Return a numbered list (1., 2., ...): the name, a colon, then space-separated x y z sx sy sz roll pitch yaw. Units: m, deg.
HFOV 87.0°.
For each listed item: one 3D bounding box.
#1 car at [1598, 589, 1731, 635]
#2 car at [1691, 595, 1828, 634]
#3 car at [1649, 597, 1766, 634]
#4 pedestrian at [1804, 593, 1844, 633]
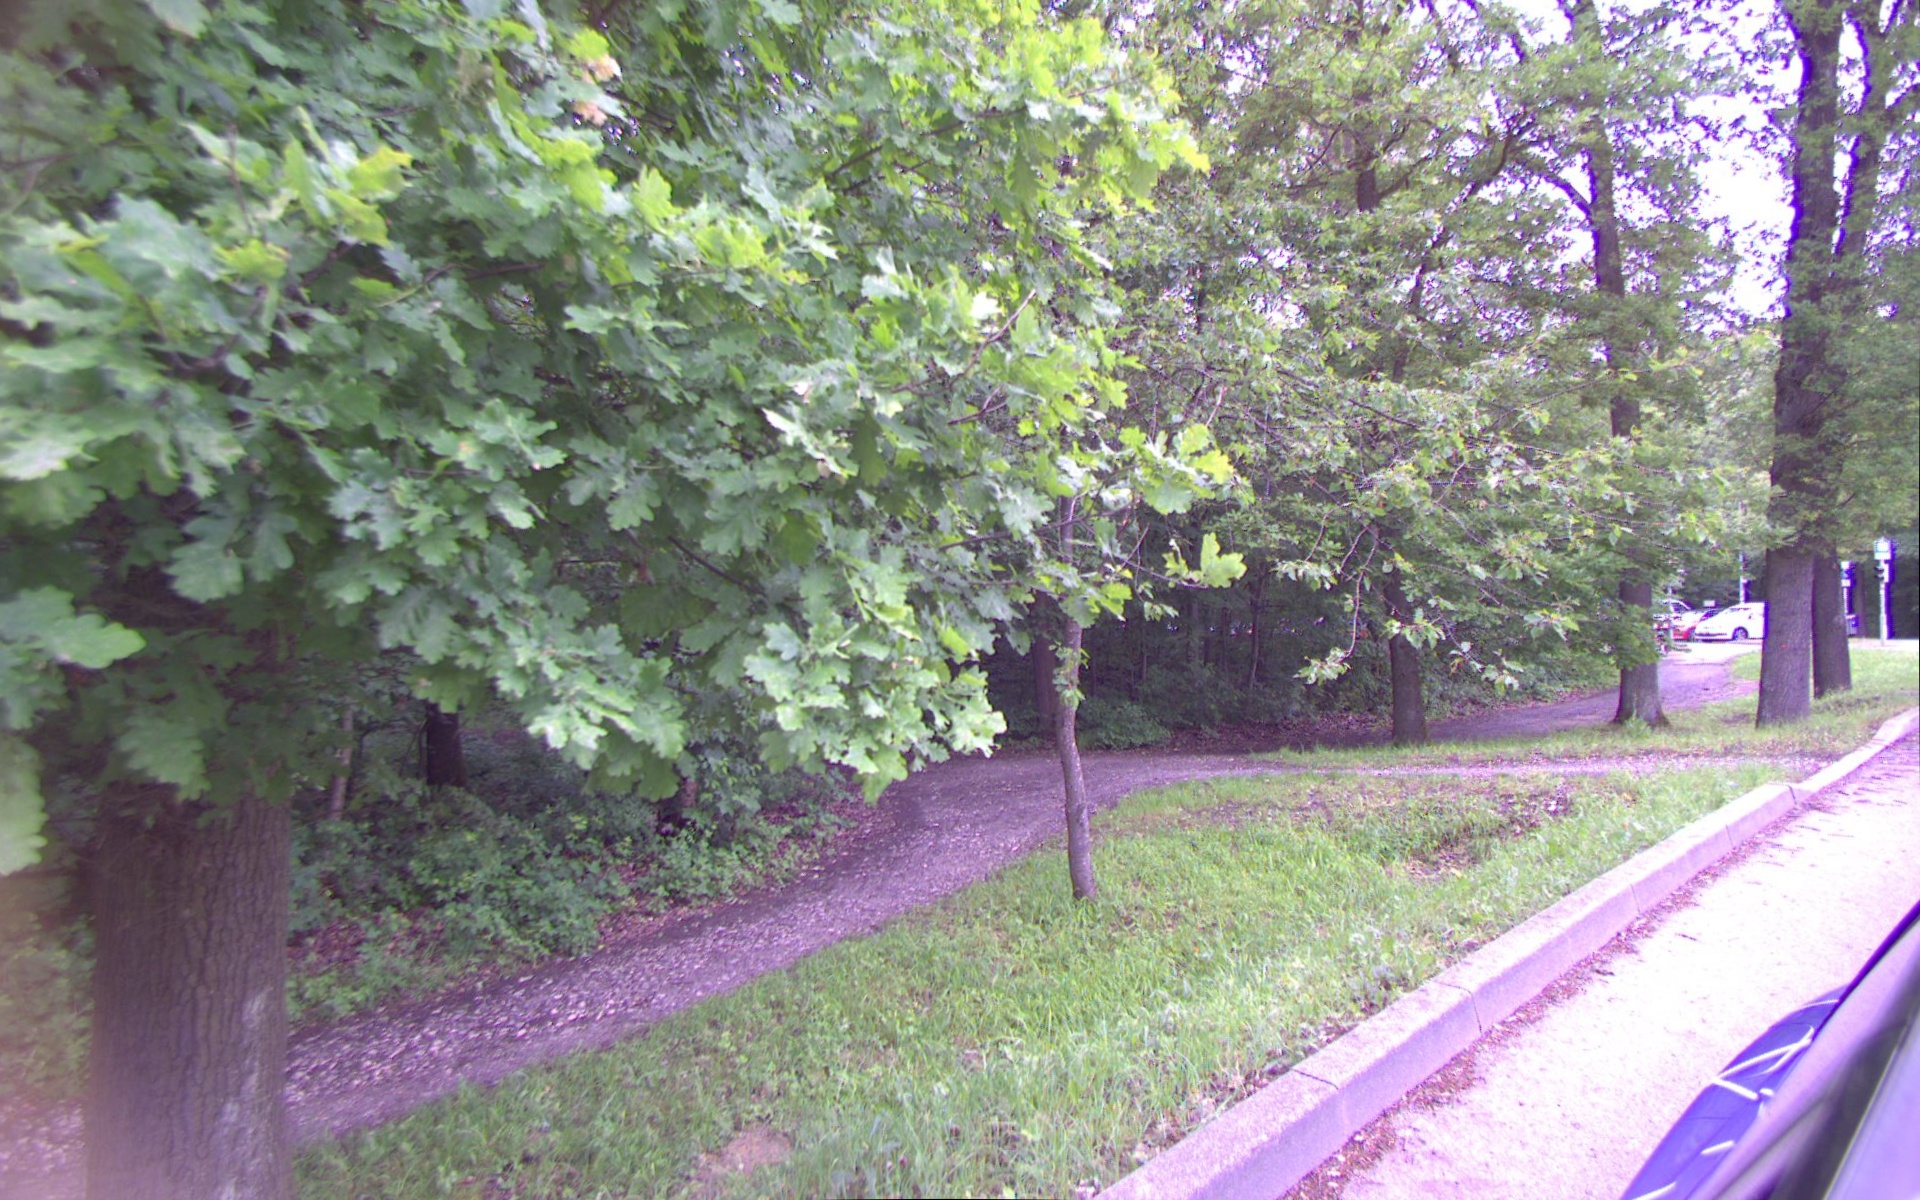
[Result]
1. car: 33.507 0.583 48.185 5.077 1.982 2.065 -2 -2 -10
2. car: 33.942 0.641 43.053 4.332 1.572 2.001 -1 -2 -6
3. car: 33.601 0.713 45.572 3.920 1.572 1.896 -1 -2 -6
4. pedestrian: 37.133 0.565 43.508 1.084 1.697 0.902 -1 0 29
